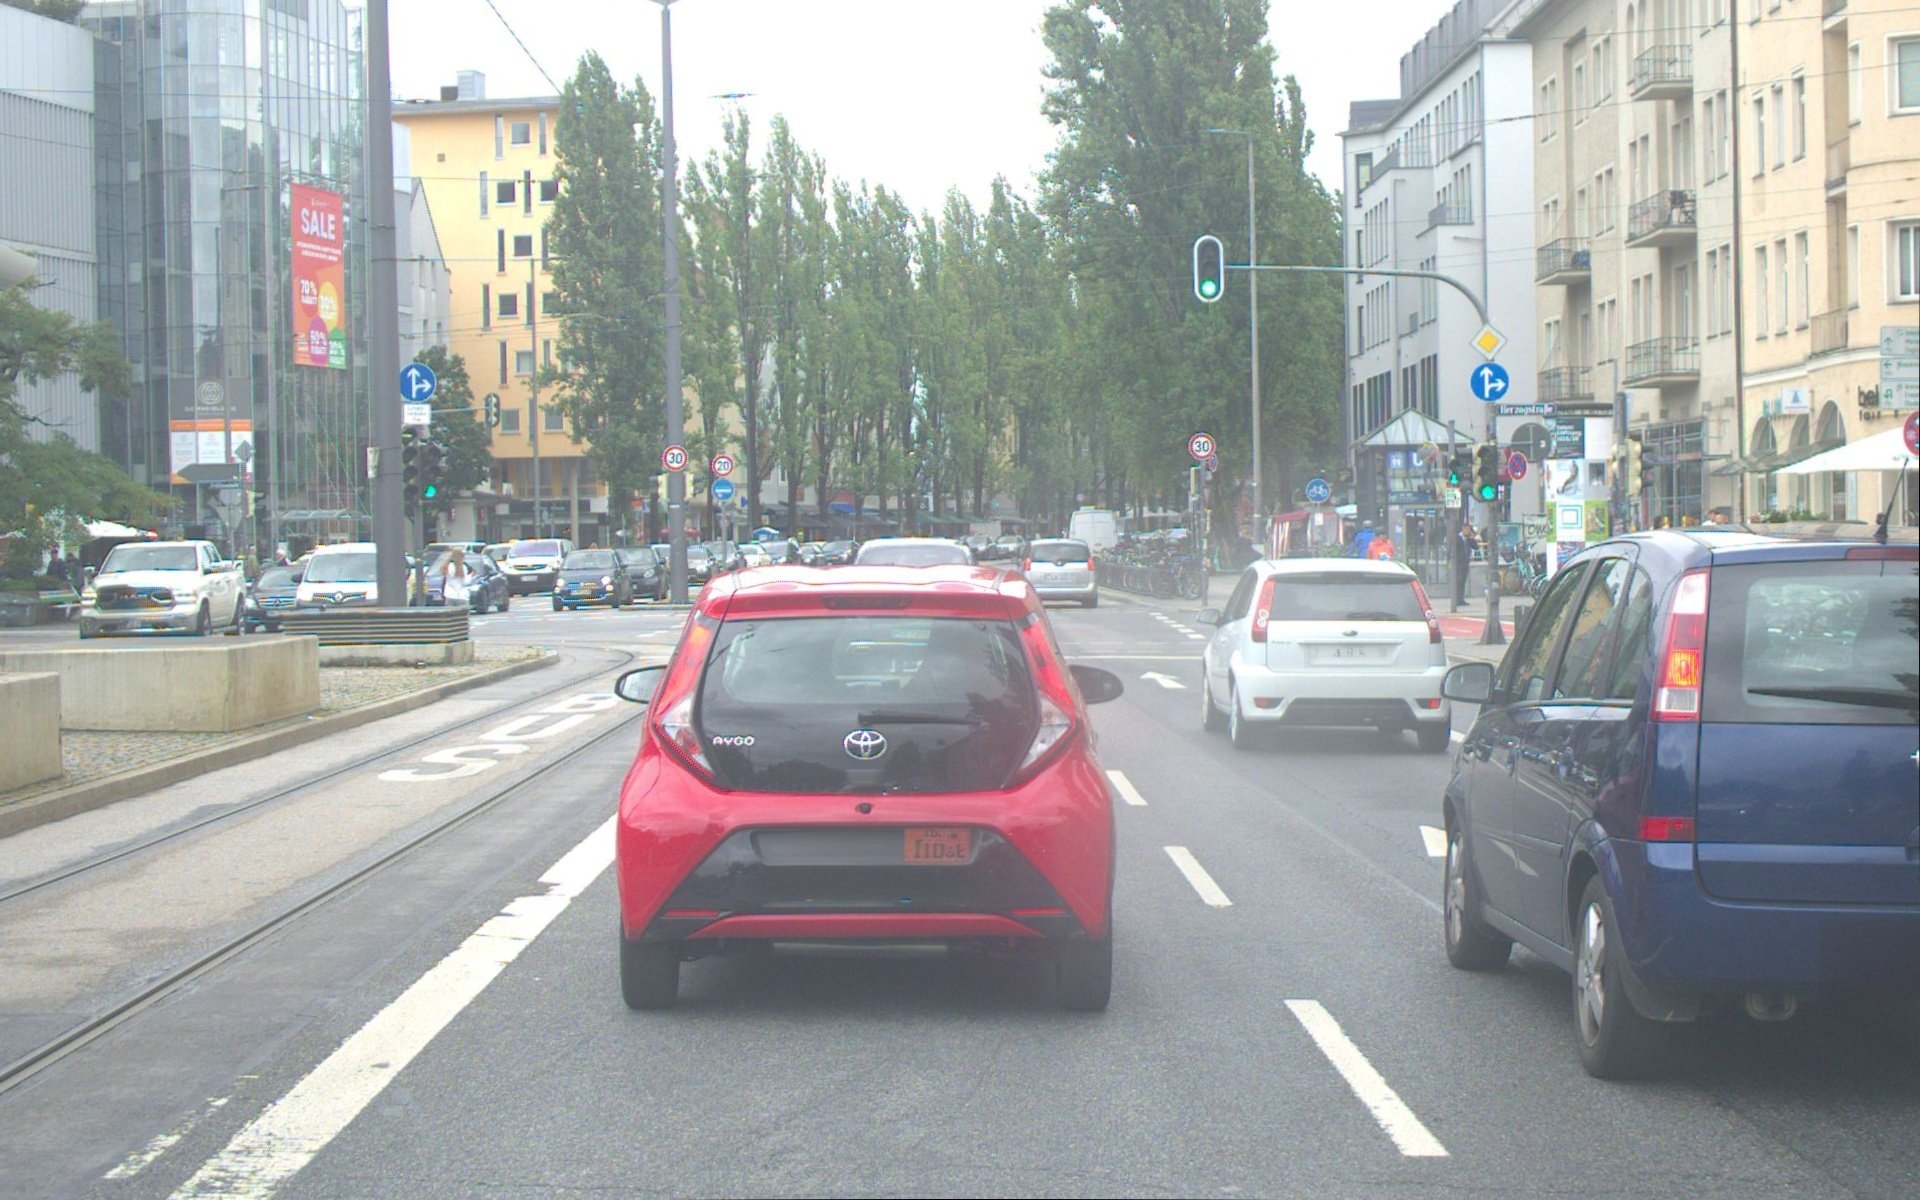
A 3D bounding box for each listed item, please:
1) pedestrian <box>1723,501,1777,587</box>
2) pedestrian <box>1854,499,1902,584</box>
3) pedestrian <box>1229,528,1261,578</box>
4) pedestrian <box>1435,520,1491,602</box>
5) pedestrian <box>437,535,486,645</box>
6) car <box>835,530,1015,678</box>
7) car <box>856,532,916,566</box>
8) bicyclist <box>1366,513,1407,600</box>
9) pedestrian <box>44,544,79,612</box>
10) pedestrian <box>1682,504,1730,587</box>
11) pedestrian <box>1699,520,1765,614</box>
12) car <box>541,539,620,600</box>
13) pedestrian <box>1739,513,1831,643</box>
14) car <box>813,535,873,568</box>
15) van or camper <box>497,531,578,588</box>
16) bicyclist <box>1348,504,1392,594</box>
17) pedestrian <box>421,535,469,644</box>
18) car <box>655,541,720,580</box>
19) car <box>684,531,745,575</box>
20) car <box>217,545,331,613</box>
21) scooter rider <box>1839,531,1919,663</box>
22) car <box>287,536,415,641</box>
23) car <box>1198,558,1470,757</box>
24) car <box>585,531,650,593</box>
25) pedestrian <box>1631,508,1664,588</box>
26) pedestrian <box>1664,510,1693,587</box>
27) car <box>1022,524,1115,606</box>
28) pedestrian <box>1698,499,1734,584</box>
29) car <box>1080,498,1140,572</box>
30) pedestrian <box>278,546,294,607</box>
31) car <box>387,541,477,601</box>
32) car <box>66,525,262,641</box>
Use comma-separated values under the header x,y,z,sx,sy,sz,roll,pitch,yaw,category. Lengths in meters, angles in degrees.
x,y,z,sx,sy,sz,roll,pitch,yaw,category
16.441,-1.173,71.553,0.934,1.749,1.065,-1,1,6,pedestrian
18.884,-1.209,70.720,0.682,1.679,0.745,2,6,44,pedestrian
8.656,-1.431,104.353,0.797,1.517,0.811,-1,1,-6,pedestrian
10.564,-0.817,72.164,0.836,1.685,0.818,0,1,37,pedestrian
-7.385,-0.147,50.961,0.521,1.613,0.463,0,1,44,pedestrian
-0.414,0.008,40.706,1.993,1.612,4.000,-1,1,-1,car
-3.771,-2.628,175.775,1.994,1.686,4.919,0,1,12,car
8.276,-0.845,66.684,0.614,1.652,1.251,-1,1,1,bicyclist
-23.816,-0.589,91.101,0.749,1.767,0.773,-2,1,-23,pedestrian
15.837,-1.157,73.013,0.644,1.699,0.733,-4,5,-29,pedestrian
12.898,-0.556,57.433,0.729,1.535,0.891,-1,1,-15,pedestrian
-9.314,-0.765,84.132,1.545,1.440,3.540,-1,1,-12,car
11.251,-0.302,46.891,0.881,1.737,0.859,-1,1,-16,pedestrian
-5.652,-2.364,166.168,1.994,1.529,4.586,-1,1,10,car
-13.916,-1.357,113.542,1.928,1.819,5.441,-1,1,1,van or camper
8.608,-1.082,72.262,0.762,1.863,1.133,-1,1,1,bicyclist
-7.677,-0.156,51.241,0.486,1.613,0.558,-2,1,-35,pedestrian
-10.125,-1.496,127.988,1.993,1.407,4.168,0,1,2,car
-9.758,-1.893,136.987,1.743,1.664,4.732,-1,1,4,car
-14.991,-0.483,75.352,1.672,1.374,4.614,-1,1,-2,car
9.866,-0.039,36.830,0.700,1.384,0.643,-1,1,-2,scooter rider
-11.398,-0.242,64.577,1.786,1.849,4.219,-2,1,-3,car
2.871,0.401,27.020,1.699,1.421,3.497,1,1,-1,car
-8.868,-0.990,88.924,1.503,1.529,2.838,-1,1,-9,car
14.631,-1.106,73.179,0.566,1.665,0.562,0,4,22,pedestrian
15.313,-1.097,73.279,0.561,1.604,0.567,-1,4,13,pedestrian
2.496,-0.836,80.062,1.993,1.831,4.000,-1,1,0,car
15.897,-1.234,72.270,0.648,1.745,0.636,-1,4,5,pedestrian
5.692,-2.477,131.045,2.107,2.709,4.804,-1,1,1,car
-19.413,-0.671,99.008,0.354,1.753,0.447,-2,1,-19,pedestrian
-12.937,-0.732,84.394,1.677,1.391,4.233,-1,1,-2,car
-13.810,-0.342,60.004,2.175,1.881,6.157,-1,1,-2,car
